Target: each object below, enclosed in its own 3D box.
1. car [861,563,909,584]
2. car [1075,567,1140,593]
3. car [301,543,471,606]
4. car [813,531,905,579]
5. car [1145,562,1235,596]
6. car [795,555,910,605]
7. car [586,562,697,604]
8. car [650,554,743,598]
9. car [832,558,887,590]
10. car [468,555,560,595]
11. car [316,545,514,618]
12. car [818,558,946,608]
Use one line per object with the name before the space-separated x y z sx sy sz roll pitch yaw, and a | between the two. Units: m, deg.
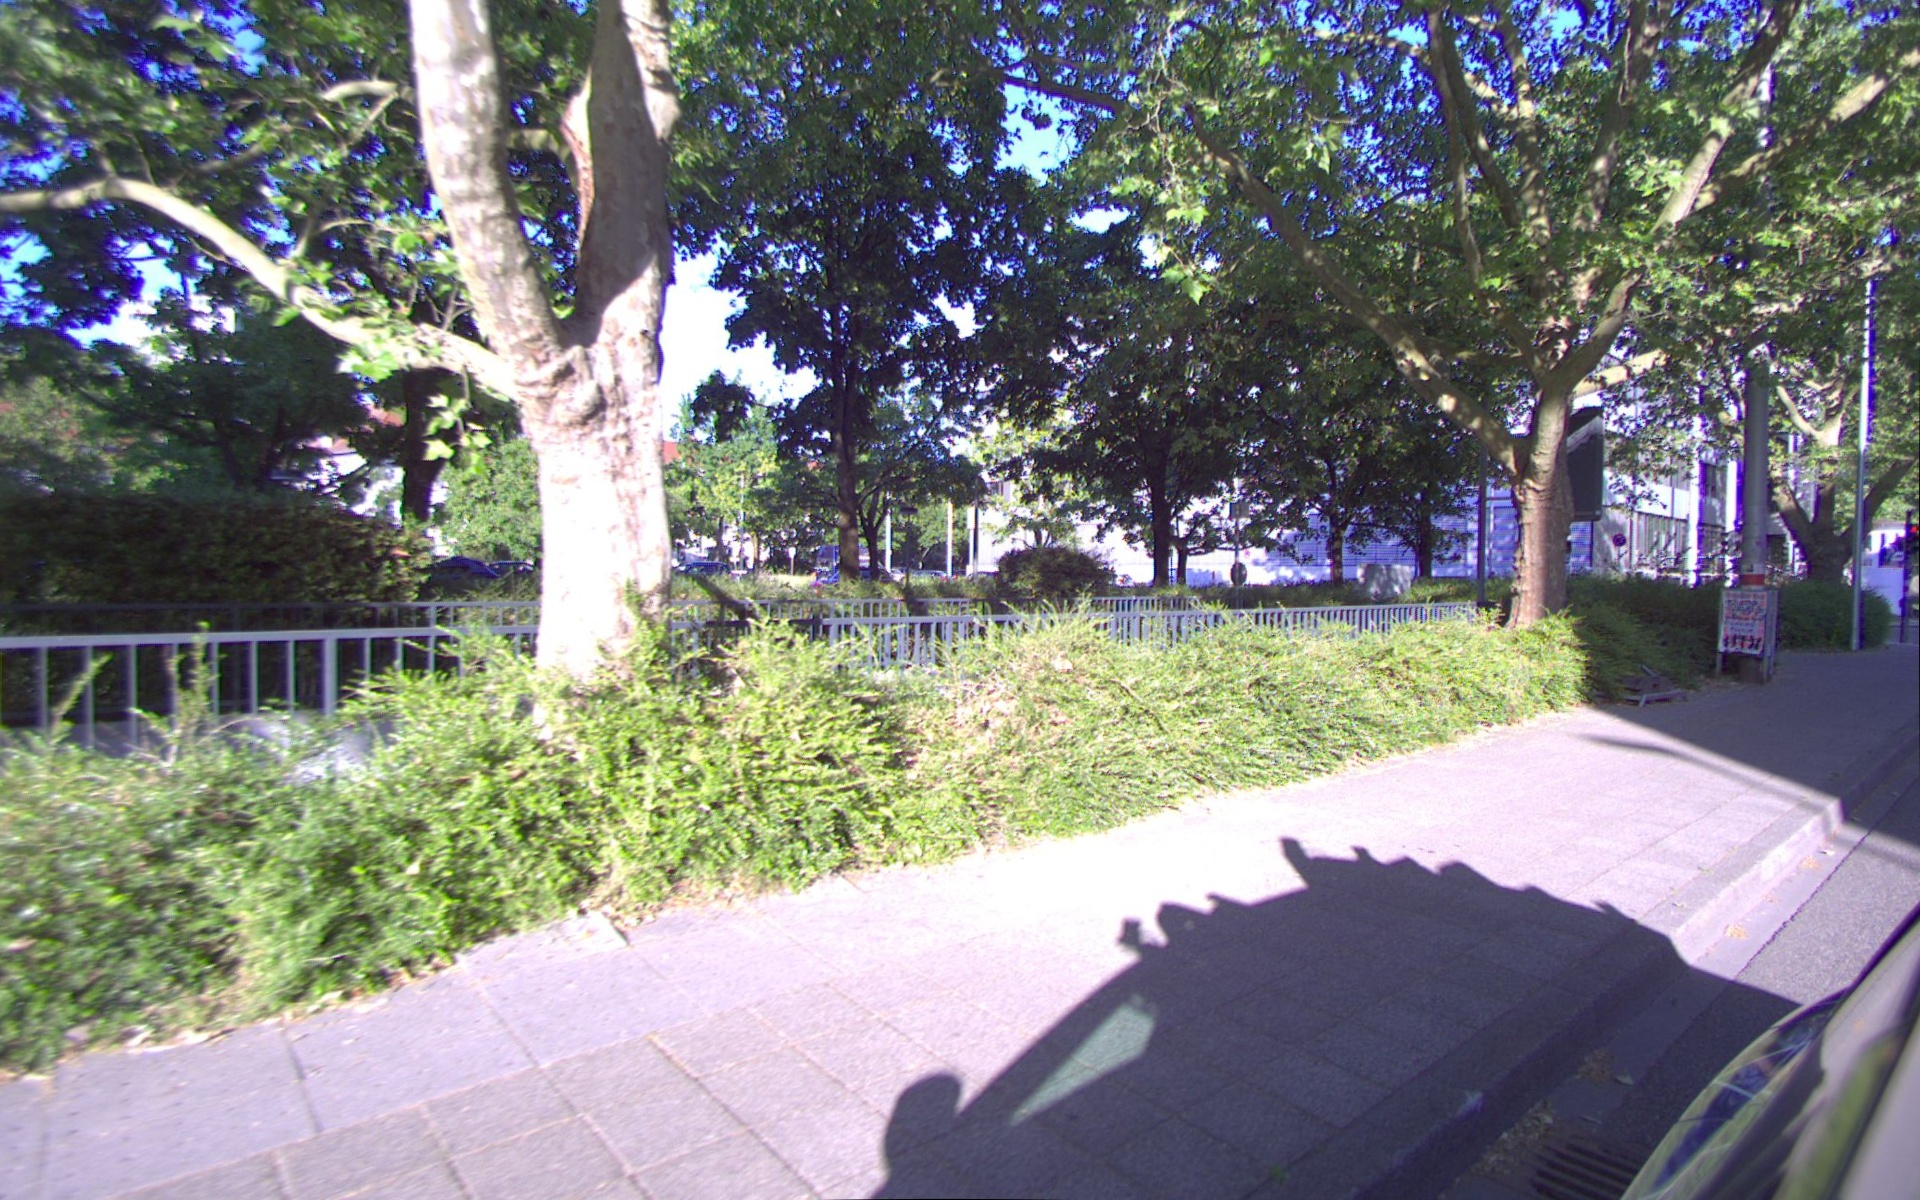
car | -5.698 -2.031 76.857 3.587 1.508 1.607 2 2 40
car | 9.174 -1.257 63.231 1.603 1.503 3.843 0 2 -43
car | -16.057 -0.669 28.422 3.930 1.647 1.551 0 0 -41
car | -5.763 -2.506 58.033 5.072 2.605 1.996 -1 1 -43
car | 13.301 -1.220 58.717 2.074 1.851 4.710 0 2 -43
car | -4.134 -0.754 39.304 4.238 1.834 1.784 0 1 -43
car | -13.062 -0.681 41.602 3.930 1.647 1.921 0 0 -41
car | -13.288 -1.203 51.195 4.238 2.114 1.784 0 1 -43
car | -8.814 -2.258 89.433 1.988 2.651 5.054 4 2 35
car | -23.147 -1.250 52.568 3.976 1.971 1.920 0 0 -43
car | -13.243 -0.459 24.728 1.759 1.646 3.936 2 2 44
car | -2.673 -0.587 35.220 4.238 1.621 1.784 0 2 -43
